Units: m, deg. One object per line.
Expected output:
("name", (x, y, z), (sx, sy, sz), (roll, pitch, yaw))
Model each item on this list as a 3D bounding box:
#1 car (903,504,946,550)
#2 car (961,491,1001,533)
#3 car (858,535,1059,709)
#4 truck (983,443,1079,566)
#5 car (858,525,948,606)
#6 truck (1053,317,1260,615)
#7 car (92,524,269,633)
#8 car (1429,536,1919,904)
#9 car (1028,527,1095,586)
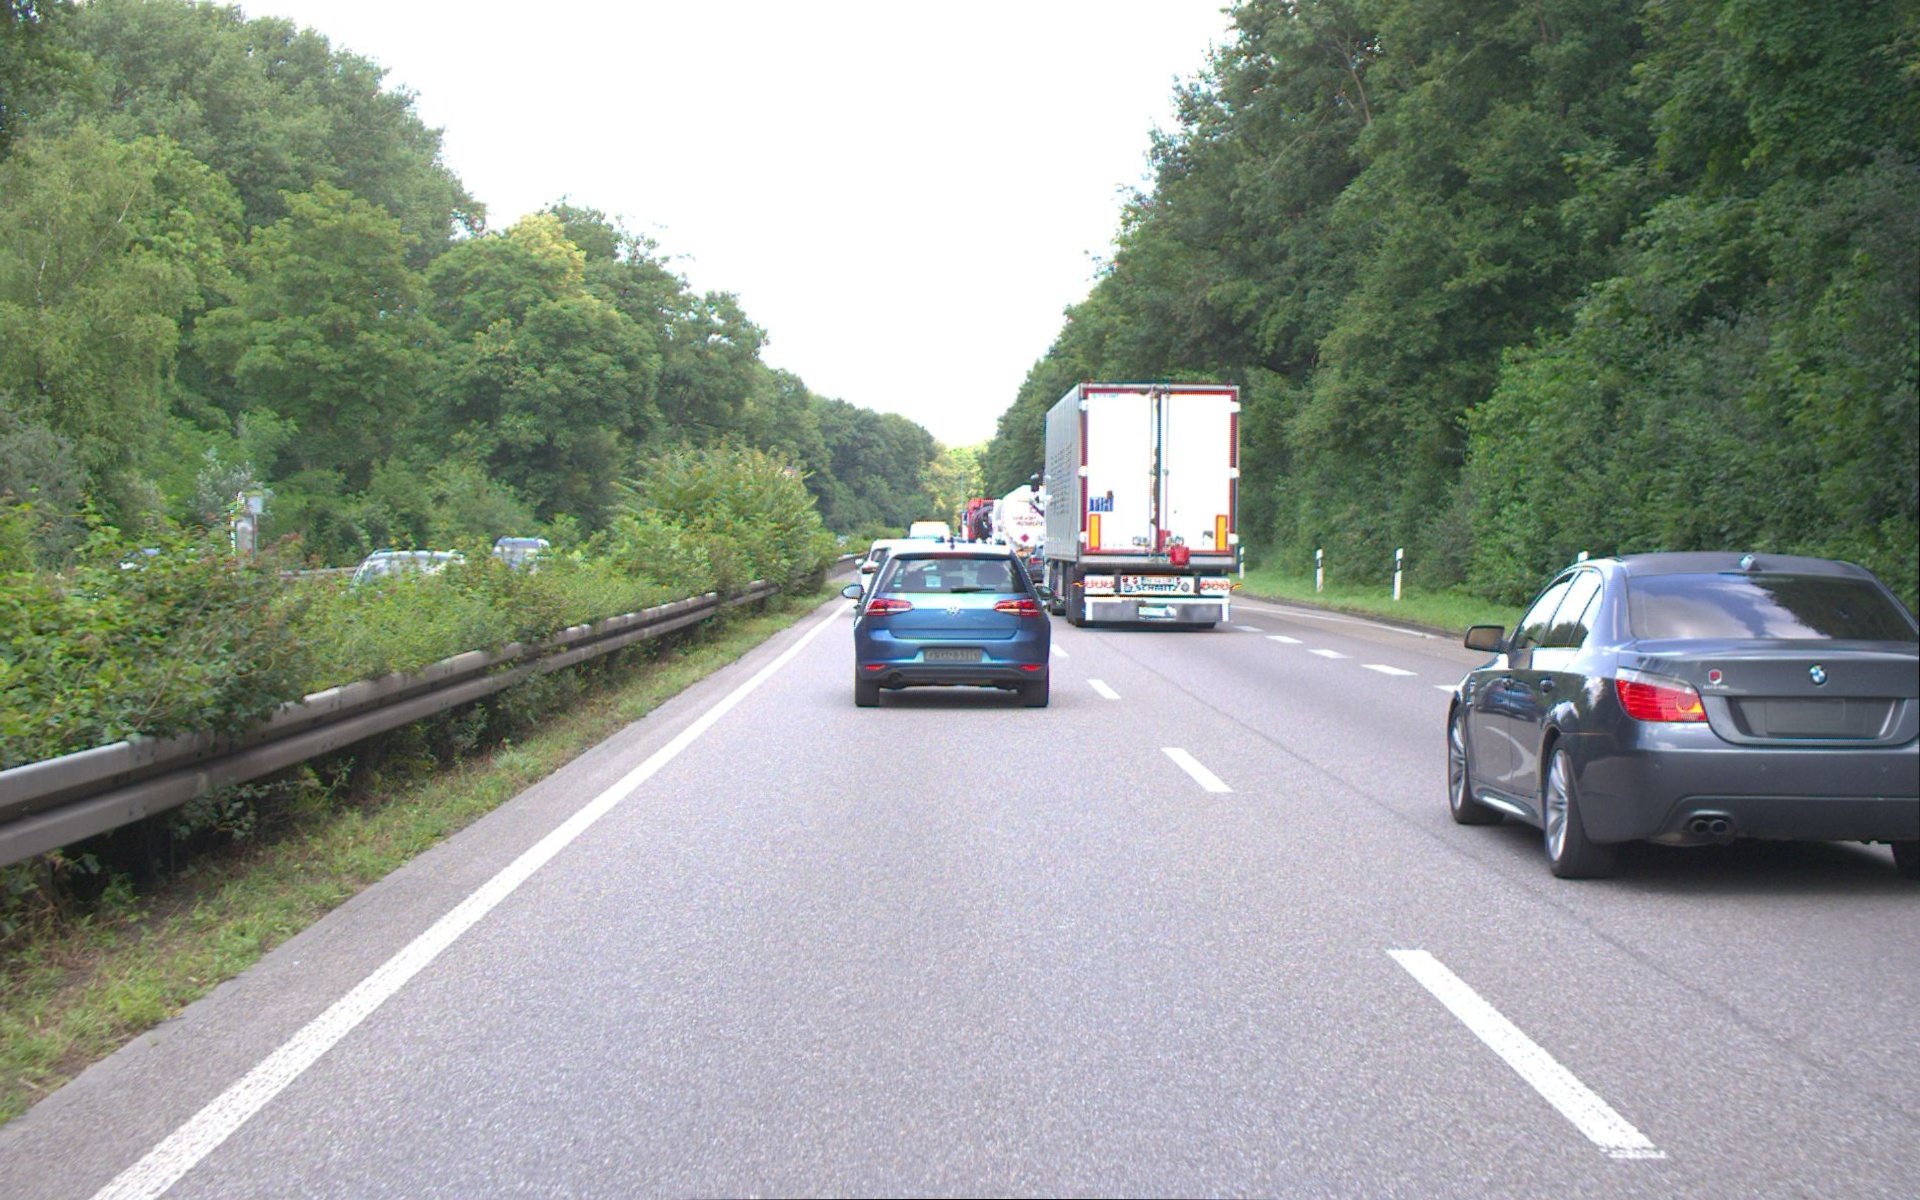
("car", (-1.827, -3.729, 175.235), (1.993, 2.247, 4.443), (-1, 1, -3))
("car", (1.155, -4.910, 192.461), (1.993, 2.319, 4.443), (-1, 1, -3))
("car", (-0.045, 0.153, 31.613), (1.705, 1.465, 4.000), (1, 1, -1))
("truck", (2.594, -3.502, 130.116), (3.232, 4.371, 12.971), (0, 1, 0))
("car", (-1.068, -0.682, 66.055), (1.665, 1.495, 4.152), (0, 1, 0))
("truck", (3.308, -2.263, 60.119), (3.242, 4.699, 11.007), (-1, 1, 2))
("car", (-12.499, -0.386, 55.359), (1.828, 1.655, 4.595), (1, 1, 0))
("car", (3.507, 0.447, 16.441), (1.774, 1.470, 4.881), (1, 1, -1))
("car", (3.067, -1.339, 104.271), (1.888, 1.723, 4.000), (-1, 1, 0))
